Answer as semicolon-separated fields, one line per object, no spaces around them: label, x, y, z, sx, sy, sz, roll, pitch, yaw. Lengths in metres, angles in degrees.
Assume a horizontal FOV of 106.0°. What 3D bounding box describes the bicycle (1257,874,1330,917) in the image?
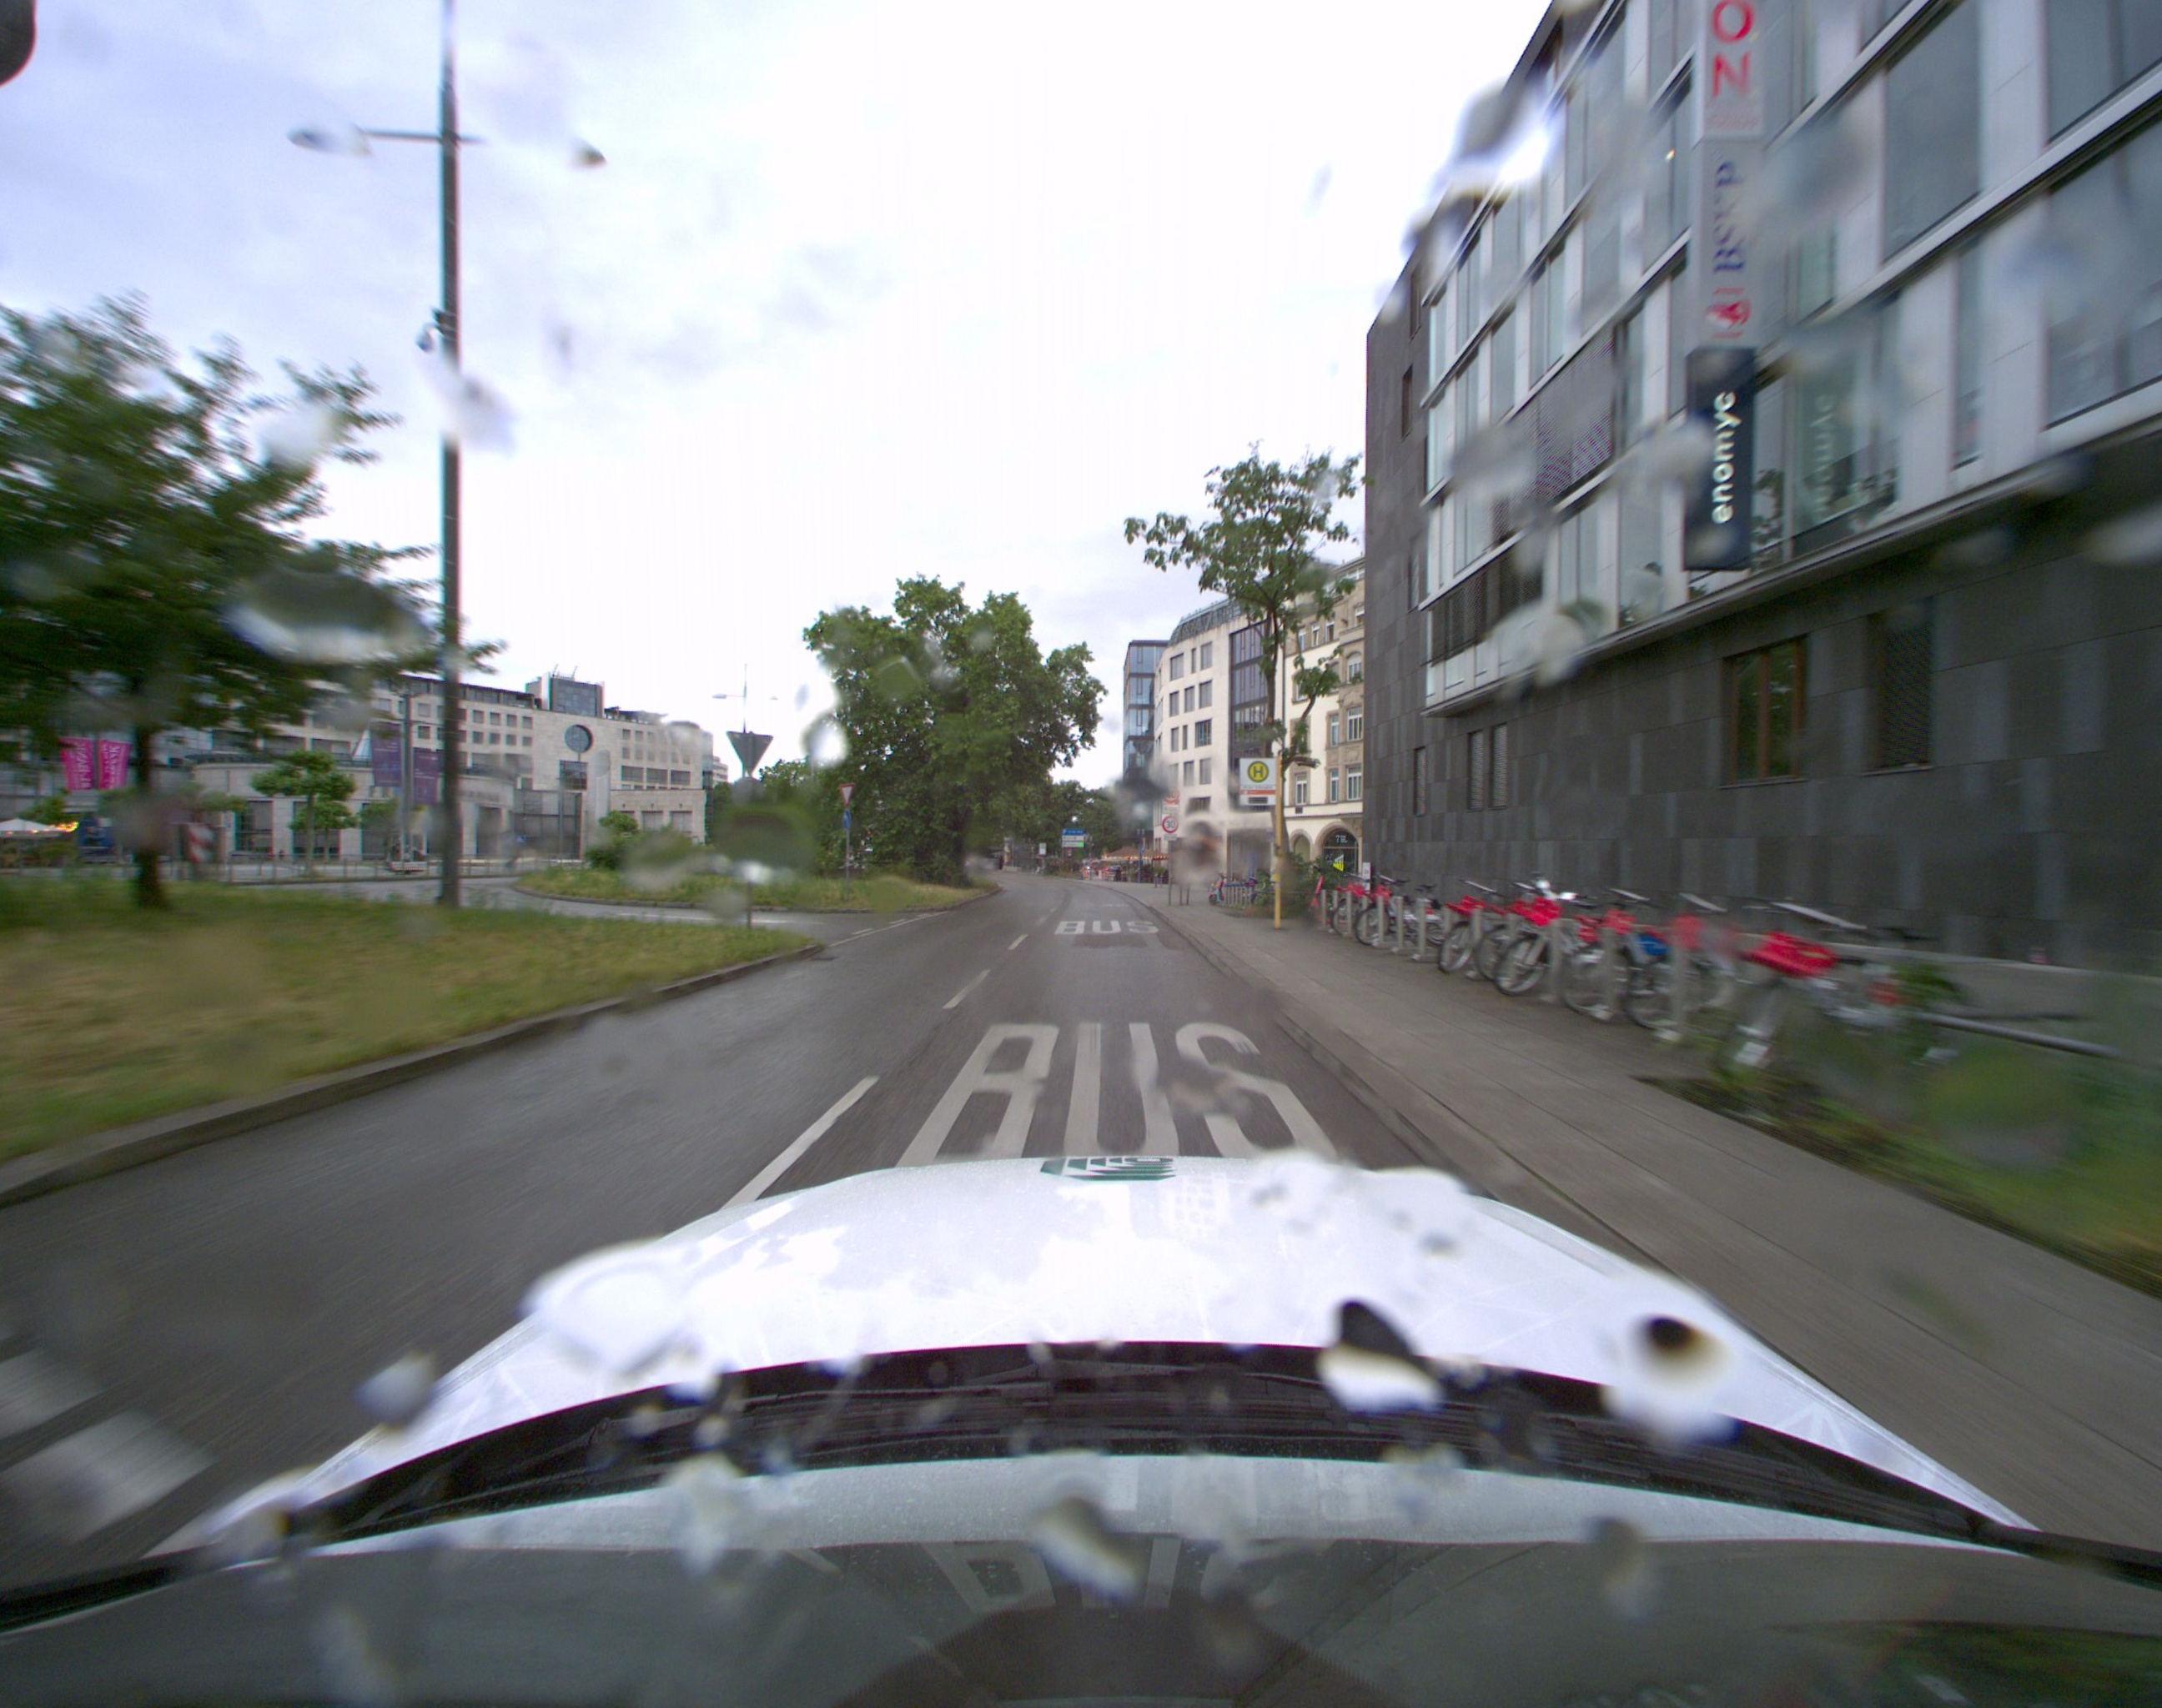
bicycle;5.640;1.088;21.625;1.790;1.068;0.555;2;-2;-4

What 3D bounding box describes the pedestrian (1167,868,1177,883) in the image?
pedestrian;8.085;1.915;72.113;0.629;1.326;0.631;3;-1;-24

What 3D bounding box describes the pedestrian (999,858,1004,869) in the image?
pedestrian;-12.413;1.470;127.442;0.718;1.702;0.620;0;-1;8

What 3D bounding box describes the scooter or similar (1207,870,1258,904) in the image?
scooter or similar;5.713;1.246;30.781;1.789;1.243;0.595;2;-2;-5

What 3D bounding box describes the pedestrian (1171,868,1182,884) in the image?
pedestrian;8.374;1.937;71.301;0.629;1.326;0.631;3;-1;-24

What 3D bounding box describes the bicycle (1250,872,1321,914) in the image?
bicycle;5.573;1.057;22.230;1.790;1.068;0.555;2;-2;-4

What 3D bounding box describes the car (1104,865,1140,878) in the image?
car;5.582;2.392;111.057;4.719;1.691;2.005;1;0;0

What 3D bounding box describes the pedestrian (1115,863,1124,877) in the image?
pedestrian;3.902;1.626;82.408;0.815;1.326;0.635;3;-1;-3

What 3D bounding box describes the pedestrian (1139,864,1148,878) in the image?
pedestrian;6.307;1.739;82.131;0.815;1.326;0.635;3;-1;-3

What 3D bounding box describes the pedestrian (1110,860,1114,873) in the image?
pedestrian;4.780;1.912;126.059;0.621;1.933;0.789;1;-1;7

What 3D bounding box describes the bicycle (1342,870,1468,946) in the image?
bicycle;5.038;0.824;12.704;1.703;1.140;0.688;0;-2;-6

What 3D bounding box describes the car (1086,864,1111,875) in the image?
car;2.560;2.302;119.852;1.623;1.416;3.486;3;-1;-43

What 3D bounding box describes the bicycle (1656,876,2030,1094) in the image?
bicycle;4.586;0.741;4.965;1.727;1.183;0.688;0;-1;-6

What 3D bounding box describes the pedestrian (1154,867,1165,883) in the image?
pedestrian;6.440;1.727;67.059;0.772;1.326;0.635;3;-1;-4

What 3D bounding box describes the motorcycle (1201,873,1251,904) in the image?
motorcycle;5.645;1.333;31.705;1.789;1.140;0.595;2;-2;-5

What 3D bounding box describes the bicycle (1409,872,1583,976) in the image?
bicycle;4.848;0.799;9.572;1.727;1.140;0.688;0;-1;-6

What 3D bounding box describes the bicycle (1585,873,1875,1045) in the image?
bicycle;4.877;0.748;6.179;1.727;1.183;0.688;0;-1;-6

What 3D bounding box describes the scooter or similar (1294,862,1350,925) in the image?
scooter or similar;4.920;0.800;16.618;1.059;1.258;0.302;0;-2;-6

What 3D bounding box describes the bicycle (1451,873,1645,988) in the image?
bicycle;4.985;0.788;8.751;1.727;1.140;0.688;0;-1;-6

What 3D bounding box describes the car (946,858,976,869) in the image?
car;-17.352;1.371;118.035;4.290;1.666;1.965;0;-2;41

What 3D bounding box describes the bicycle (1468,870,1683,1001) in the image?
bicycle;4.816;0.764;7.985;1.727;1.183;0.688;0;-1;-6

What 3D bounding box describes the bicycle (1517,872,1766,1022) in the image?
bicycle;4.793;0.762;7.022;1.727;1.183;0.688;0;-1;-6

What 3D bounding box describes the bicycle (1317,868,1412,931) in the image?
bicycle;5.237;0.837;15.093;1.532;1.140;0.661;0;-2;-6

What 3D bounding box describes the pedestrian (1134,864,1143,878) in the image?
pedestrian;5.852;1.732;82.973;0.815;1.326;0.635;3;-1;-3

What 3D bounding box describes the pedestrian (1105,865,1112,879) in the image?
pedestrian;2.742;1.753;80.544;0.604;1.326;0.567;3;-1;-3

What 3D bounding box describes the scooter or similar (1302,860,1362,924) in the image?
scooter or similar;5.010;0.756;16.257;1.104;1.258;0.302;0;-2;-6

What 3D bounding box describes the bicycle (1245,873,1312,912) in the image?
bicycle;5.842;1.133;24.099;1.791;1.108;0.669;2;-2;-5

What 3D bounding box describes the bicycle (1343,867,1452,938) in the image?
bicycle;5.227;0.795;13.501;1.532;1.140;0.688;0;-2;-6

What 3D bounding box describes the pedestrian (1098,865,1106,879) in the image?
pedestrian;2.078;1.764;80.552;0.604;1.326;0.567;3;-1;-3

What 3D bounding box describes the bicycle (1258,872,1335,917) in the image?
bicycle;5.483;1.030;20.767;1.790;1.068;0.555;2;-2;-4

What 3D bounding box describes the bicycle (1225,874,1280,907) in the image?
bicycle;6.066;1.272;28.814;1.791;1.108;0.669;2;-2;-5

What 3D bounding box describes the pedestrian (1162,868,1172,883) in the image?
pedestrian;7.764;1.939;73.481;0.629;1.326;0.631;3;-1;-24

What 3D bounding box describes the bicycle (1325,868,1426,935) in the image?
bicycle;5.142;0.821;14.277;1.532;1.140;0.688;0;-2;-6
